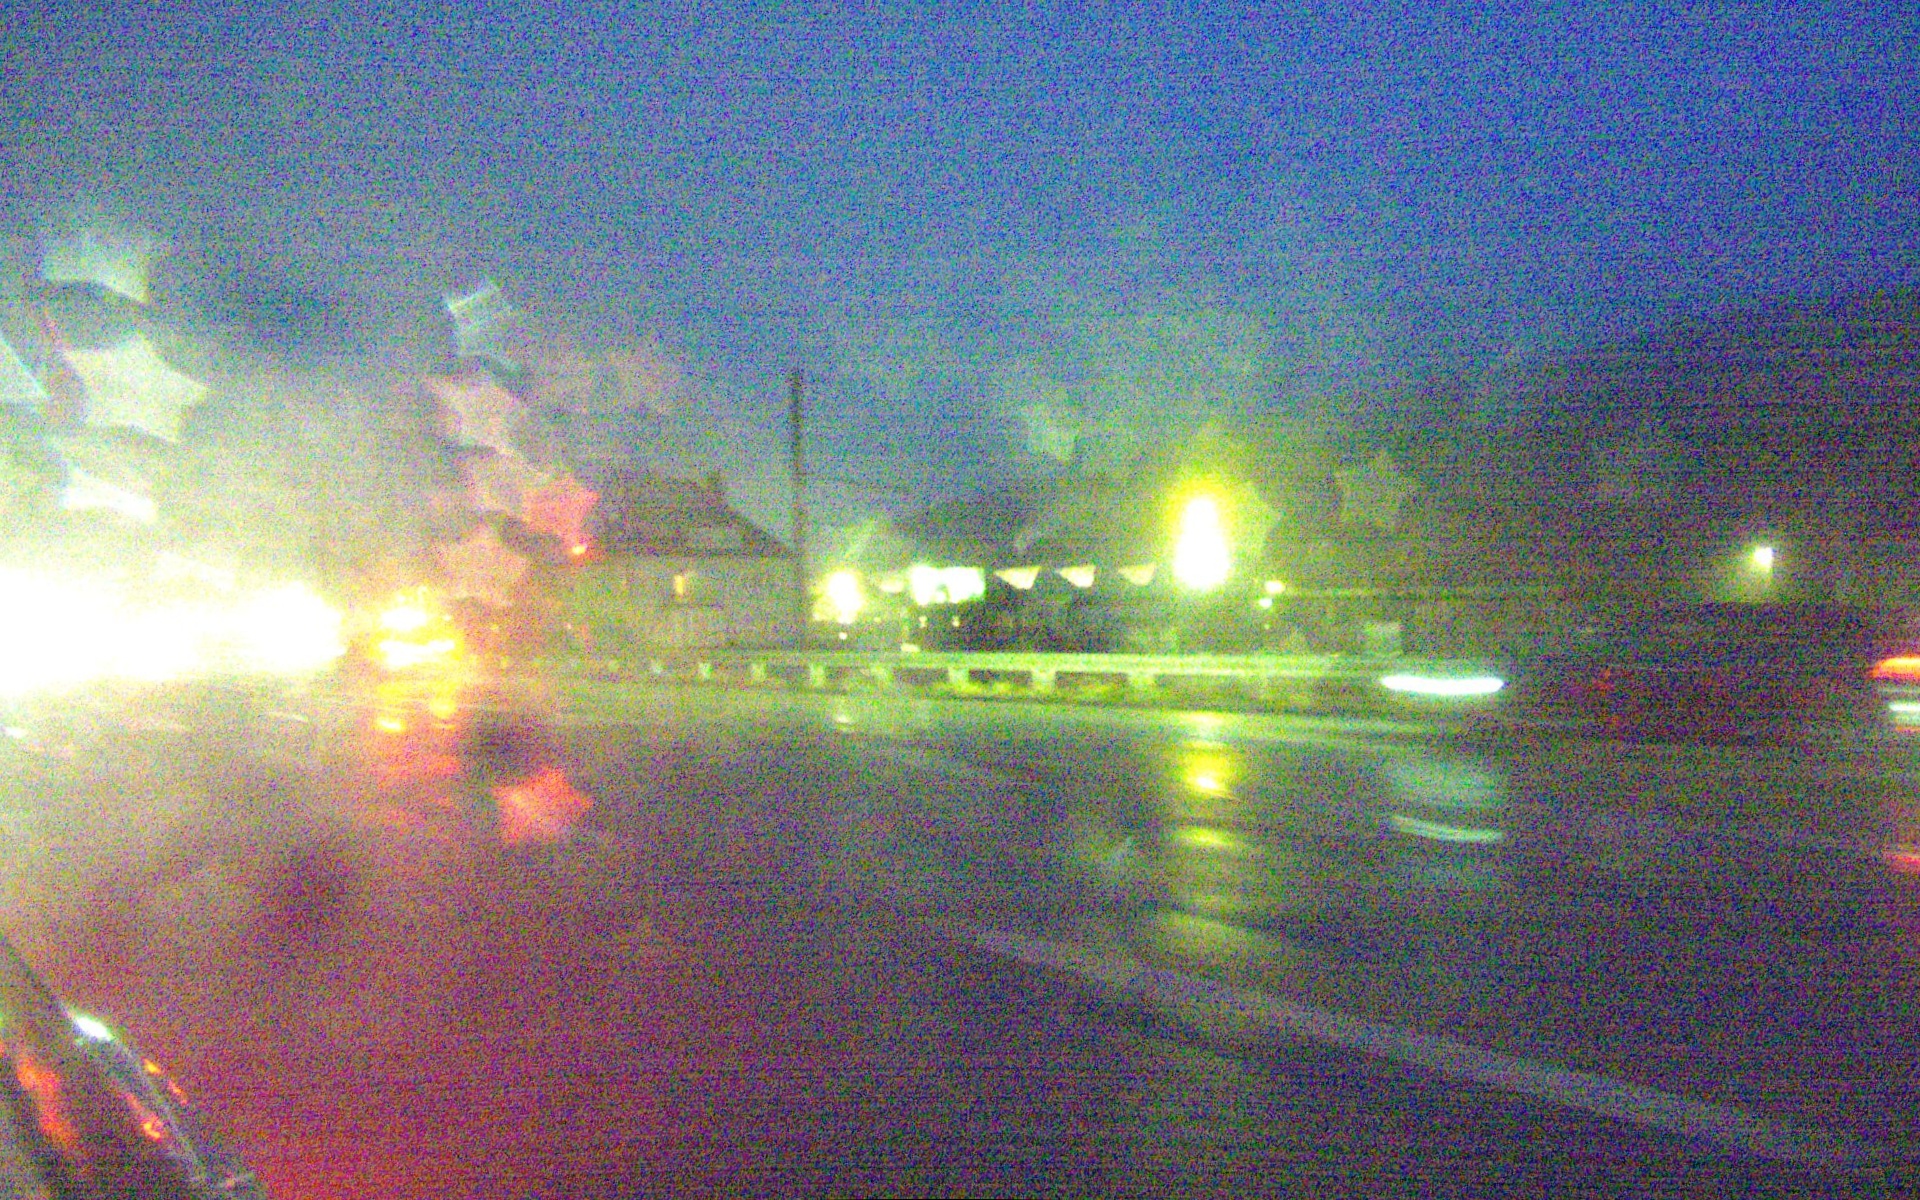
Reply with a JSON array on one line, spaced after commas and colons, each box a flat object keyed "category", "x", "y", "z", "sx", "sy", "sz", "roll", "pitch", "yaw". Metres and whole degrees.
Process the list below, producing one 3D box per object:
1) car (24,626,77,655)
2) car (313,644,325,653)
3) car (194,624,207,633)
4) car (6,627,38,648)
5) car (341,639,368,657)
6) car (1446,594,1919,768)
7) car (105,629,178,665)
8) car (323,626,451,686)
[{"category": "car", "x": -58.208, "y": 2.577, "z": 64.754, "sx": 4.526, "sy": 1.758, "sz": 2.173, "roll": -1, "pitch": -1, "yaw": 44}, {"category": "car", "x": -122.115, "y": 9.169, "z": 192.894, "sx": 1.783, "sy": 1.582, "sz": 4.305, "roll": -1, "pitch": -1, "yaw": -30}, {"category": "car", "x": -156.164, "y": 5.838, "z": 208.041, "sx": 1.967, "sy": 1.625, "sz": 4.624, "roll": 0, "pitch": -1, "yaw": -34}, {"category": "car", "x": -75.924, "y": 2.994, "z": 81.897, "sx": 1.859, "sy": 1.612, "sz": 3.903, "roll": 0, "pitch": -1, "yaw": -44}, {"category": "car", "x": -72.202, "y": 5.678, "z": 120.595, "sx": 1.970, "sy": 2.029, "sz": 4.004, "roll": 0, "pitch": -1, "yaw": -43}, {"category": "car", "x": 7.215, "y": 0.689, "z": 9.789, "sx": 4.243, "sy": 1.408, "sz": 1.858, "roll": -1, "pitch": -2, "yaw": 37}, {"category": "car", "x": -36.005, "y": 2.033, "z": 44.481, "sx": 4.489, "sy": 1.453, "sz": 1.813, "roll": -1, "pitch": -1, "yaw": 42}, {"category": "car", "x": -15.556, "y": 1.461, "z": 27.431, "sx": 3.852, "sy": 1.452, "sz": 1.772, "roll": -1, "pitch": -1, "yaw": 40}]
